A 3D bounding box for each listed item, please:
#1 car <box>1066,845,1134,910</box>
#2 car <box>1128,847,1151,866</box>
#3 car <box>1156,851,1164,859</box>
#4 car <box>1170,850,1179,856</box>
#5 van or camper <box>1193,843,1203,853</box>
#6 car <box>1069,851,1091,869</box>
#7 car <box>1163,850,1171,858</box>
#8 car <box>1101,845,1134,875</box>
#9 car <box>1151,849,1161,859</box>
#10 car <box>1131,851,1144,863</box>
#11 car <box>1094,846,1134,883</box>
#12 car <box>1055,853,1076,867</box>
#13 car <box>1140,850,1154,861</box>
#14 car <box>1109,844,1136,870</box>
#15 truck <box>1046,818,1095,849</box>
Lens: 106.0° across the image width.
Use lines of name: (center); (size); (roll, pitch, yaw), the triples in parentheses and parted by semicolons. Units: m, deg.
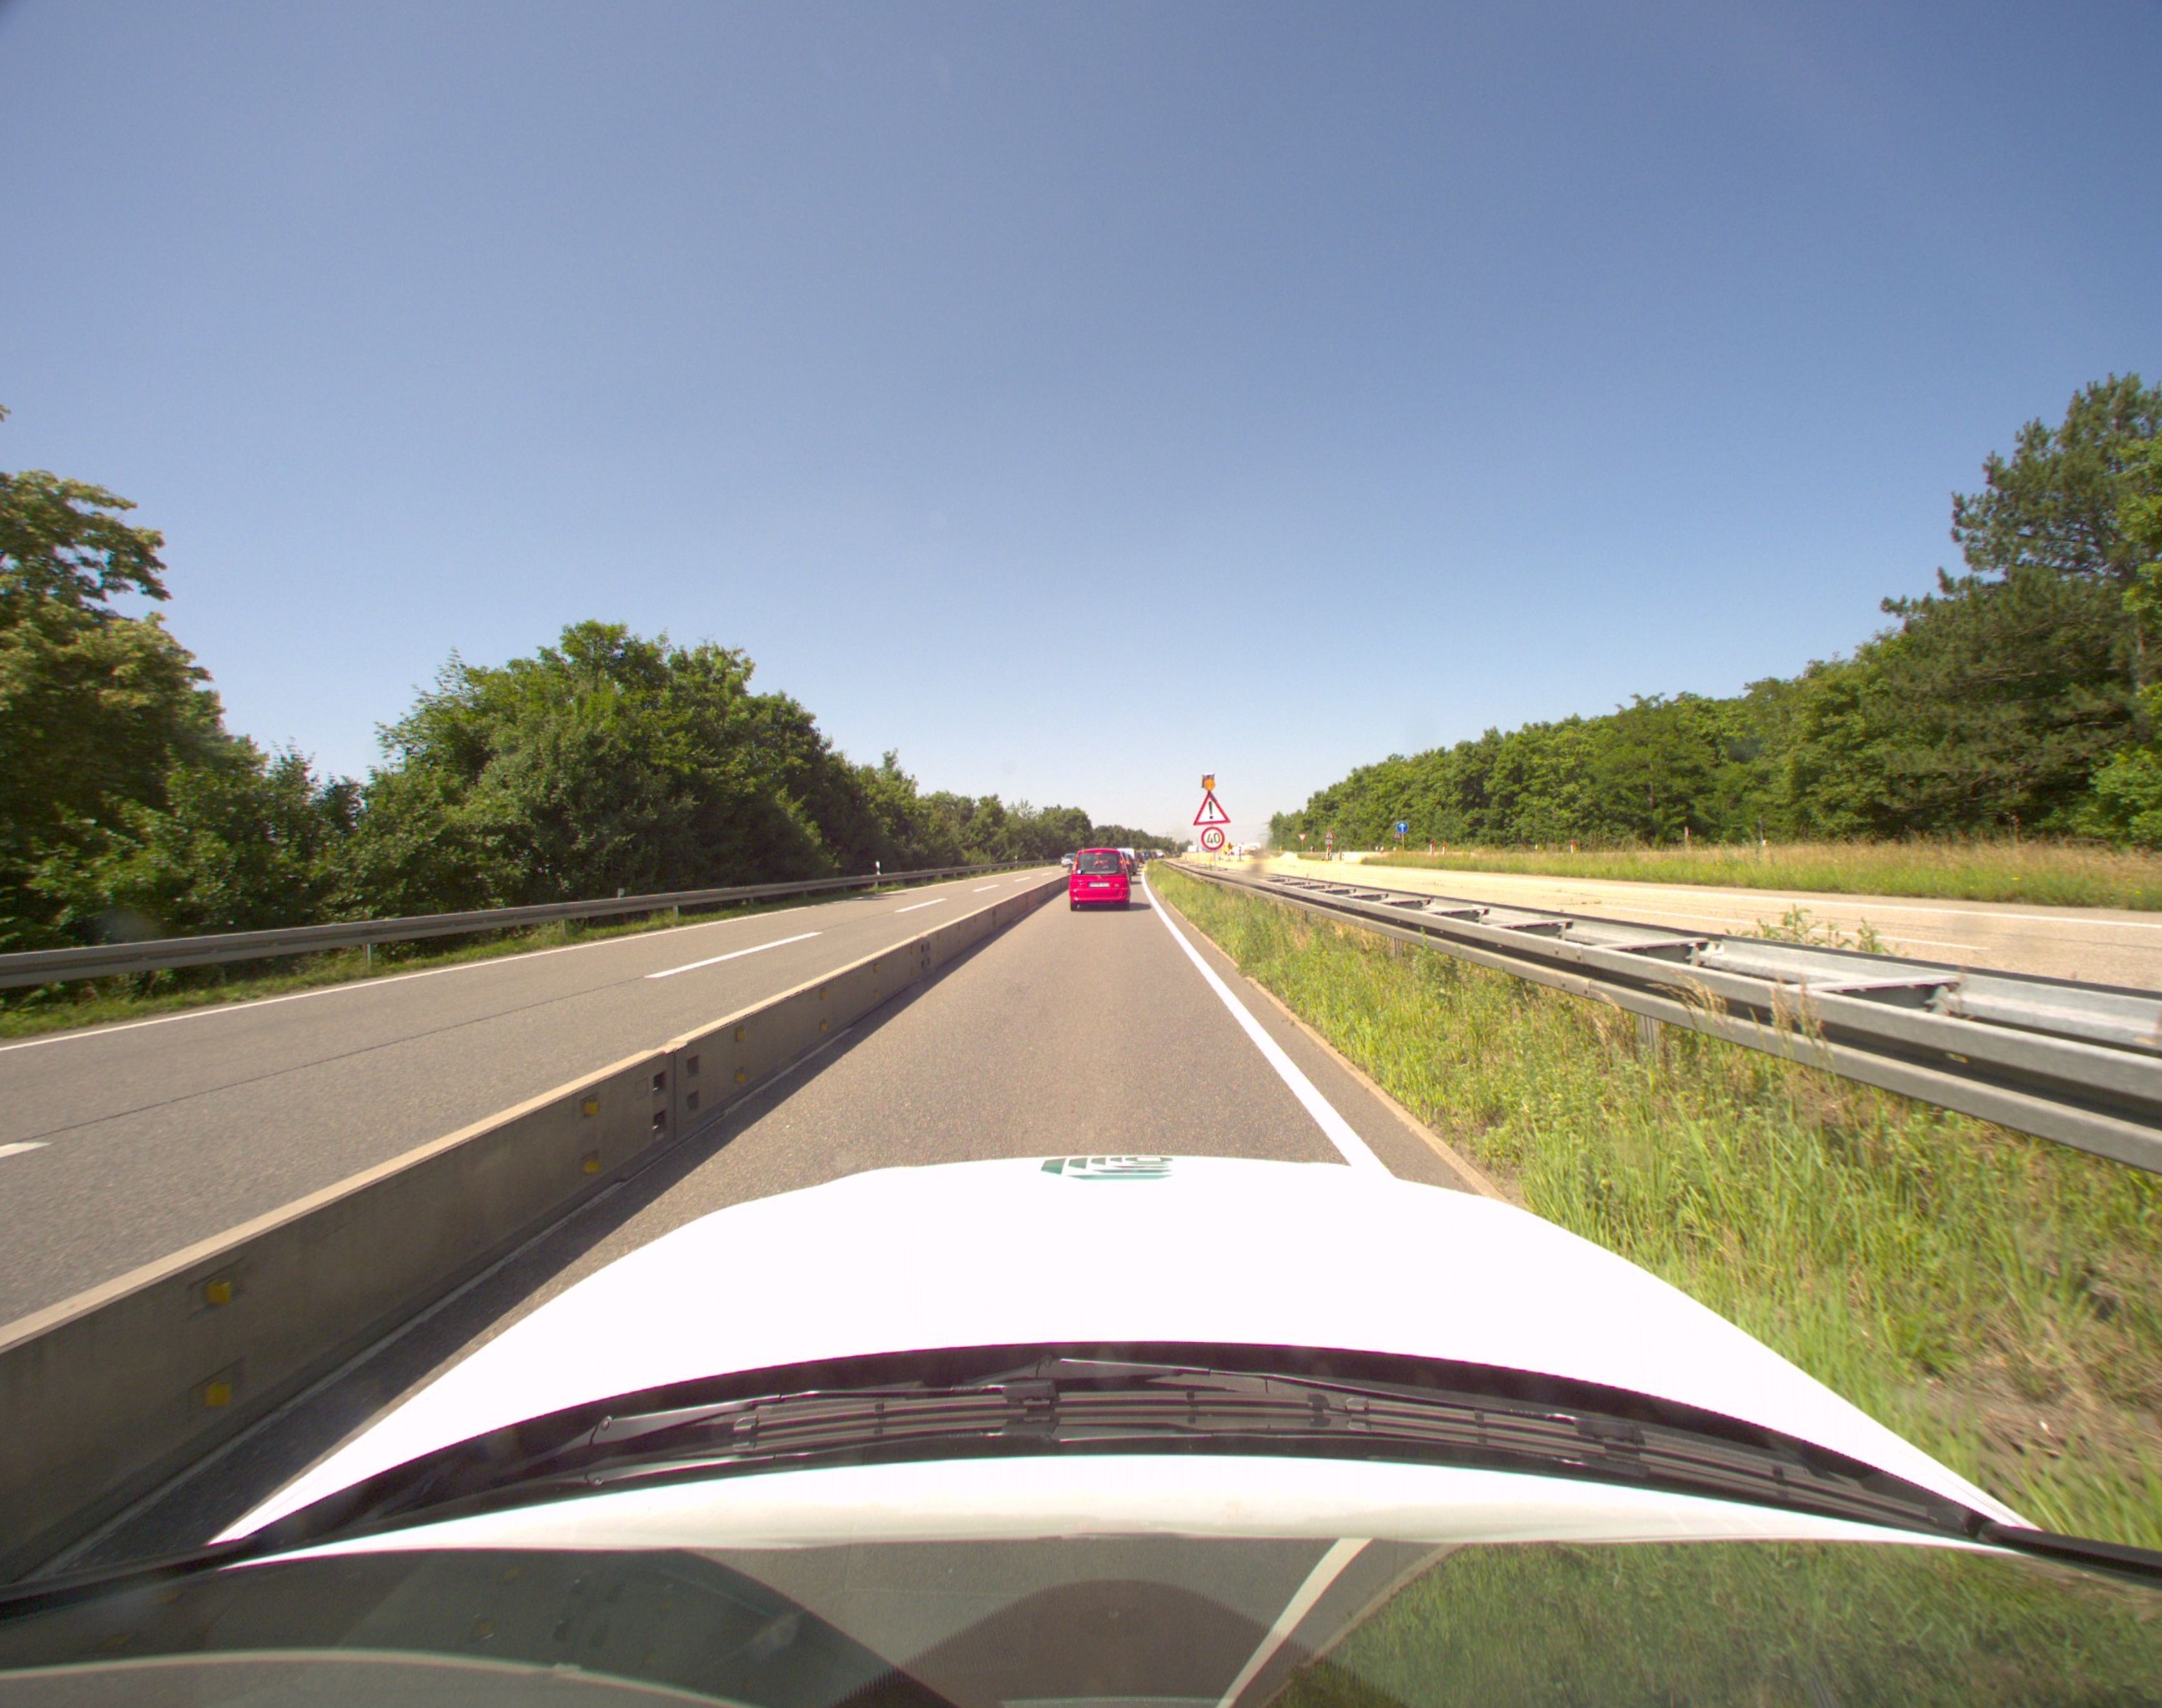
car: (0.529, 0.612, 23.335); (1.746, 1.673, 4.000); (-1, 0, 0)
car: (5.680, 0.274, 79.723); (1.987, 1.750, 4.000); (-2, 0, 1)
car: (14.911, 0.169, 152.934); (1.414, 1.298, 2.884); (-2, 0, 6)
car: (22.114, -0.254, 192.555); (1.985, 1.552, 4.004); (-1, 0, 4)
van or camper: (32.997, -1.648, 229.841); (2.319, 2.707, 4.595); (-2, 0, 2)
car: (-0.025, 0.515, 73.597); (1.815, 1.482, 4.258); (-2, 0, 2)
car: (17.808, -0.011, 168.681); (1.494, 1.450, 3.176); (-3, 0, 6)
car: (2.476, 0.371, 53.878); (1.984, 1.838, 4.005); (-2, 0, 4)
car: (12.631, 0.015, 137.240); (1.495, 1.736, 3.174); (-2, 0, 4)
car: (6.712, 0.365, 97.019); (1.495, 1.450, 3.329); (-1, 0, 4)
car: (1.647, 0.509, 40.594); (1.823, 1.722, 4.002); (-1, 0, 2)
car: (-1.645, 0.645, 88.651); (1.940, 1.421, 4.357); (-2, 0, 3)
car: (9.798, 0.172, 121.354); (1.984, 1.585, 4.006); (-1, 0, 6)
car: (3.230, 0.237, 63.748); (1.986, 2.003, 4.001); (-1, 0, 1)
truck: (-1.886, -3.778, 151.490); (8.578, 5.375, 3.394); (-3, 0, 5)
